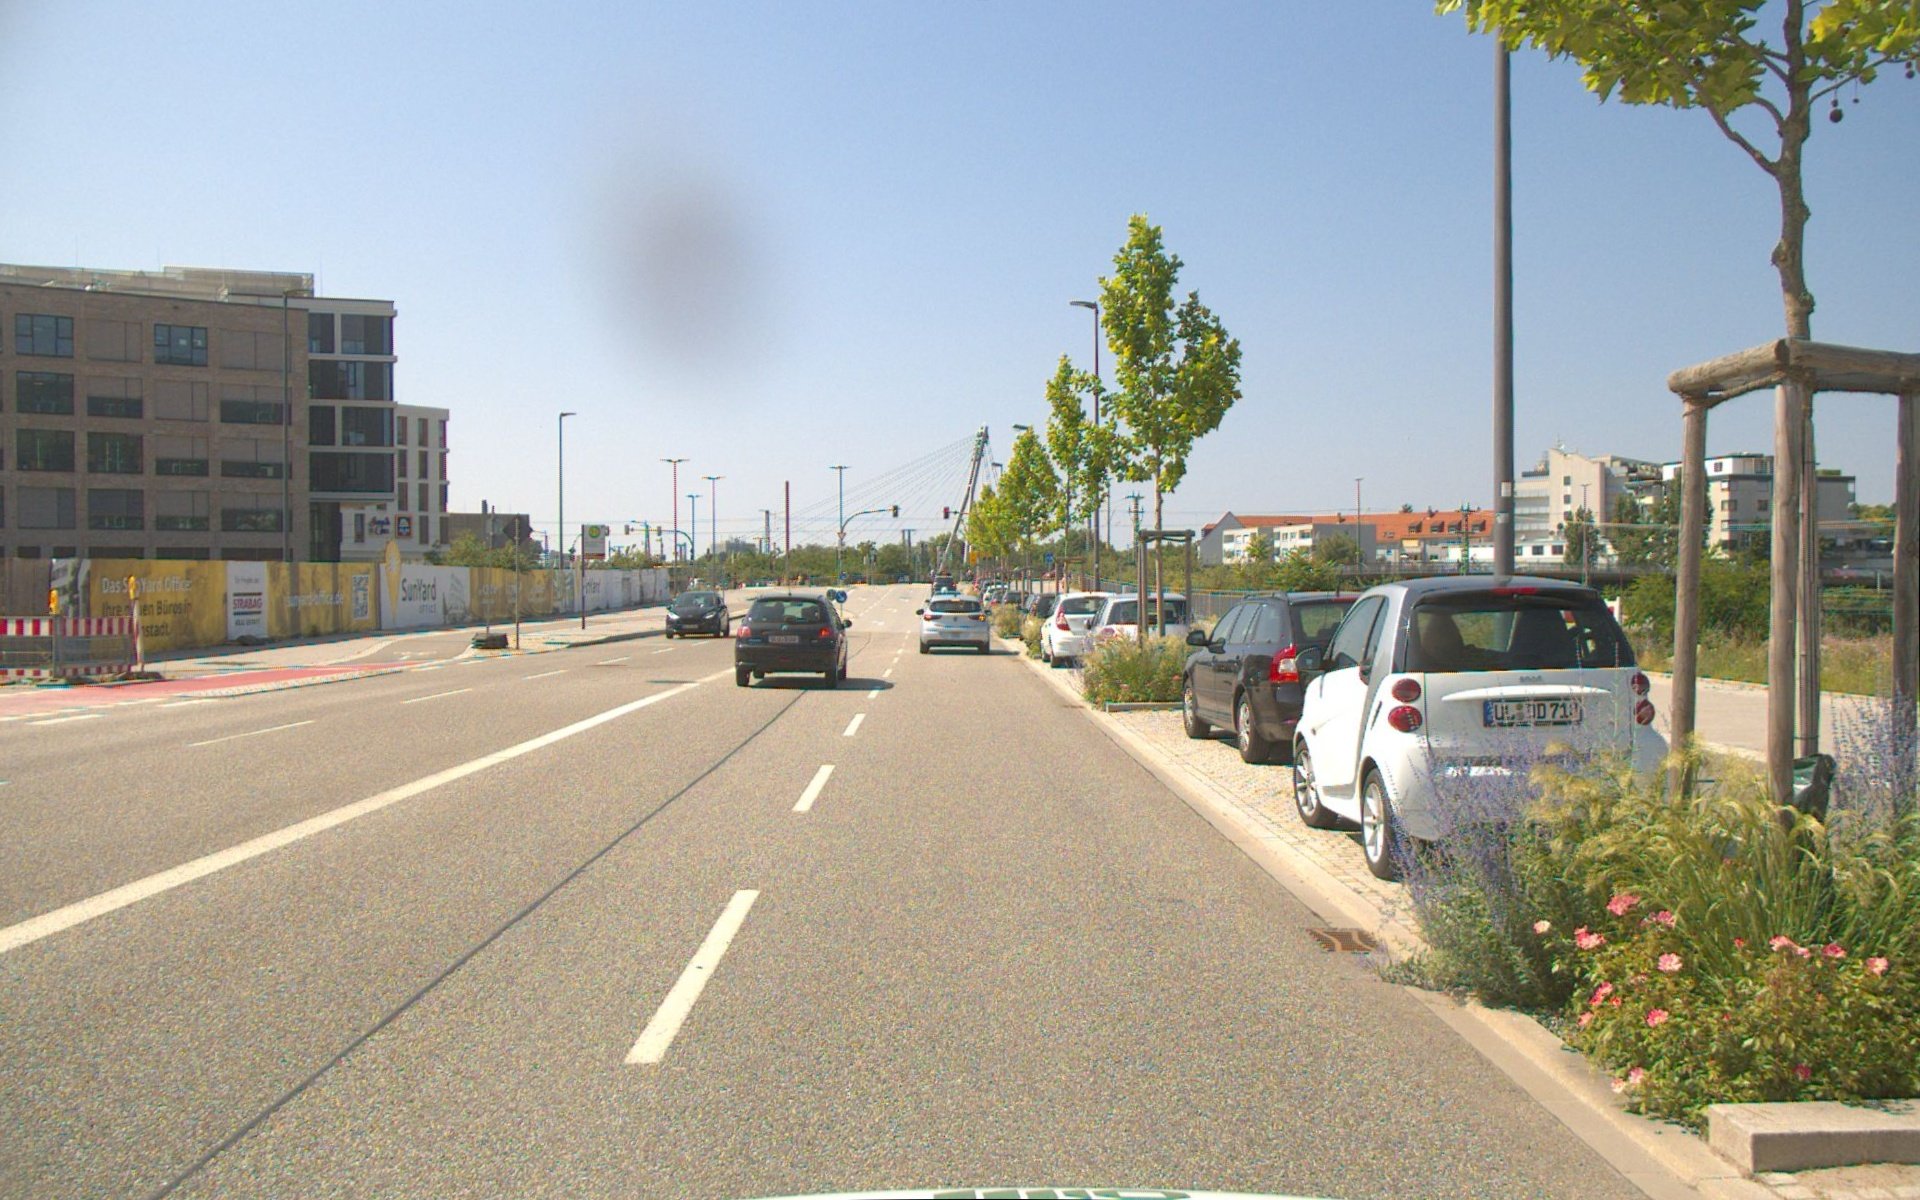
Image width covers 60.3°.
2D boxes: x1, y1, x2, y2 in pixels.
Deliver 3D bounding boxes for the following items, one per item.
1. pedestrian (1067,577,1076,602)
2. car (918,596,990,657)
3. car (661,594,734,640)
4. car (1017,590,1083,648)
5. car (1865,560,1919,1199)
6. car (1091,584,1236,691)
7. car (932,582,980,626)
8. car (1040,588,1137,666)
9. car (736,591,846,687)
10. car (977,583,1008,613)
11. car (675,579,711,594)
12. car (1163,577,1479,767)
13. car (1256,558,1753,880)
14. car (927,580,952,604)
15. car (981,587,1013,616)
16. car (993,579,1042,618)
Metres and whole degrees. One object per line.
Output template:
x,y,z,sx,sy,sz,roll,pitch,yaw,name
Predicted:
7.330,-0.687,109.117,0.522,1.603,0.524,1,-1,-1,pedestrian
-0.153,0.640,42.270,1.742,1.467,4.000,1,0,0,car
-8.341,0.525,52.816,1.669,1.376,4.455,-1,0,-1,car
2.449,0.491,45.795,1.669,1.488,4.085,-1,0,1,car
3.112,0.614,2.233,1.683,1.551,3.641,-2,-1,-1,car
3.055,0.523,25.597,1.869,1.505,4.159,0,0,2,car
-0.162,0.132,63.182,1.742,1.596,4.000,-1,0,0,car
2.623,0.547,34.574,1.710,1.536,4.001,0,0,0,car
-2.694,0.579,26.986,1.587,1.441,3.725,-1,0,-3,car
1.954,-0.142,99.066,1.785,1.645,3.612,-2,1,1,car
-31.408,-1.586,194.383,3.917,1.678,1.855,2,0,33,car
3.258,0.619,15.850,1.754,1.503,4.368,-2,-1,-4,car
3.089,0.586,10.348,1.869,1.605,4.159,0,0,2,car
-1.441,-0.582,115.768,1.742,1.596,4.000,0,1,0,car
2.038,0.056,92.407,1.662,1.501,4.205,-1,1,0,car
2.315,-0.040,67.424,1.670,1.488,3.952,-2,-1,-3,car
